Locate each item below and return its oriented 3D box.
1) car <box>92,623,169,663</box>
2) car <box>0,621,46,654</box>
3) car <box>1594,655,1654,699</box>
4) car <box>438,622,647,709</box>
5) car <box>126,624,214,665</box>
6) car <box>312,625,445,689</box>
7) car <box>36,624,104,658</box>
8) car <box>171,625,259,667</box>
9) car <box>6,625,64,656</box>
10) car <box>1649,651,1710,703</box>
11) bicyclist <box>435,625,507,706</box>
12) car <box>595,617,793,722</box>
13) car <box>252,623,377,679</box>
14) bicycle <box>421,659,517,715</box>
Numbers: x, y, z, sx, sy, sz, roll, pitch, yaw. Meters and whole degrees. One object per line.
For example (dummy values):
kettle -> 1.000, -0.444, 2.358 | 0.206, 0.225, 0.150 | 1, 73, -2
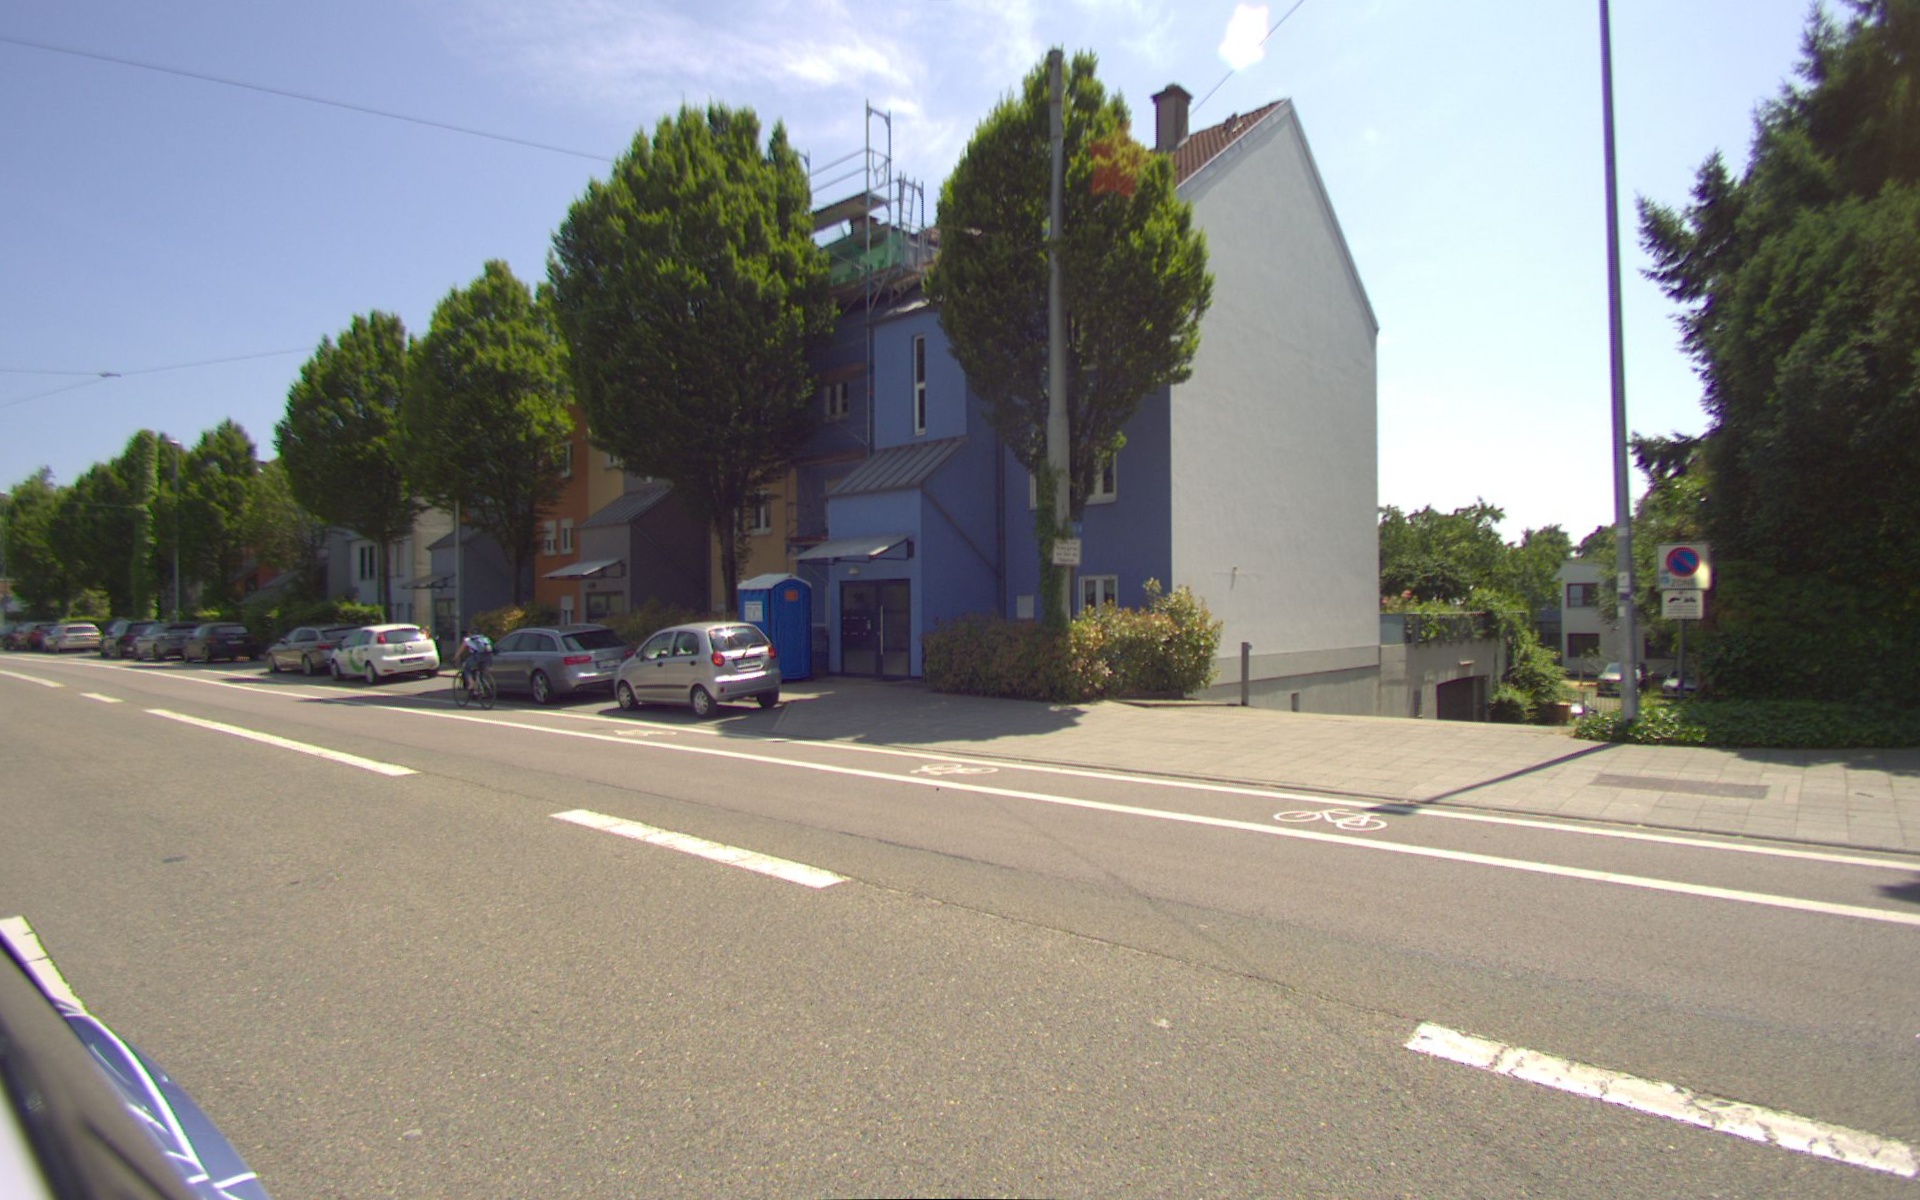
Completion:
car -> -37.185, 1.907, 45.326 | 4.142, 1.601, 1.750 | -2, 1, 38
car -> -55.080, 2.154, 58.860 | 4.548, 1.807, 1.976 | -1, -1, 36
car -> 32.450, 3.714, 49.416 | 1.999, 1.729, 3.946 | 0, 1, 40
car -> -8.749, 1.301, 20.951 | 5.129, 1.461, 1.769 | -2, 2, 40
car -> -32.609, 1.825, 41.731 | 4.752, 1.507, 1.807 | -2, 1, 39
car -> -15.959, 1.498, 27.686 | 4.417, 1.453, 1.729 | -2, 3, 41
car -> -46.071, 2.095, 52.336 | 4.490, 1.594, 1.823 | -2, 1, 38
car -> -28.391, 1.722, 38.536 | 4.254, 1.443, 1.732 | -1, 1, 40
car -> -50.923, 2.231, 55.711 | 3.673, 1.606, 1.586 | -2, 0, 35
car -> 33.941, 3.562, 47.714 | 1.999, 2.029, 3.946 | 0, 1, 40
bicyclist -> -9.042, 1.195, 18.714 | 1.123, 1.442, 0.728 | -1, -4, 38
car -> -4.652, 1.134, 17.518 | 3.447, 1.506, 1.577 | -2, 3, 41
car -> -19.984, 1.549, 31.275 | 4.744, 1.440, 1.688 | -2, 3, 38
bicycle -> -9.099, 1.579, 18.706 | 2.240, 0.958, 0.695 | -2, -4, 39
